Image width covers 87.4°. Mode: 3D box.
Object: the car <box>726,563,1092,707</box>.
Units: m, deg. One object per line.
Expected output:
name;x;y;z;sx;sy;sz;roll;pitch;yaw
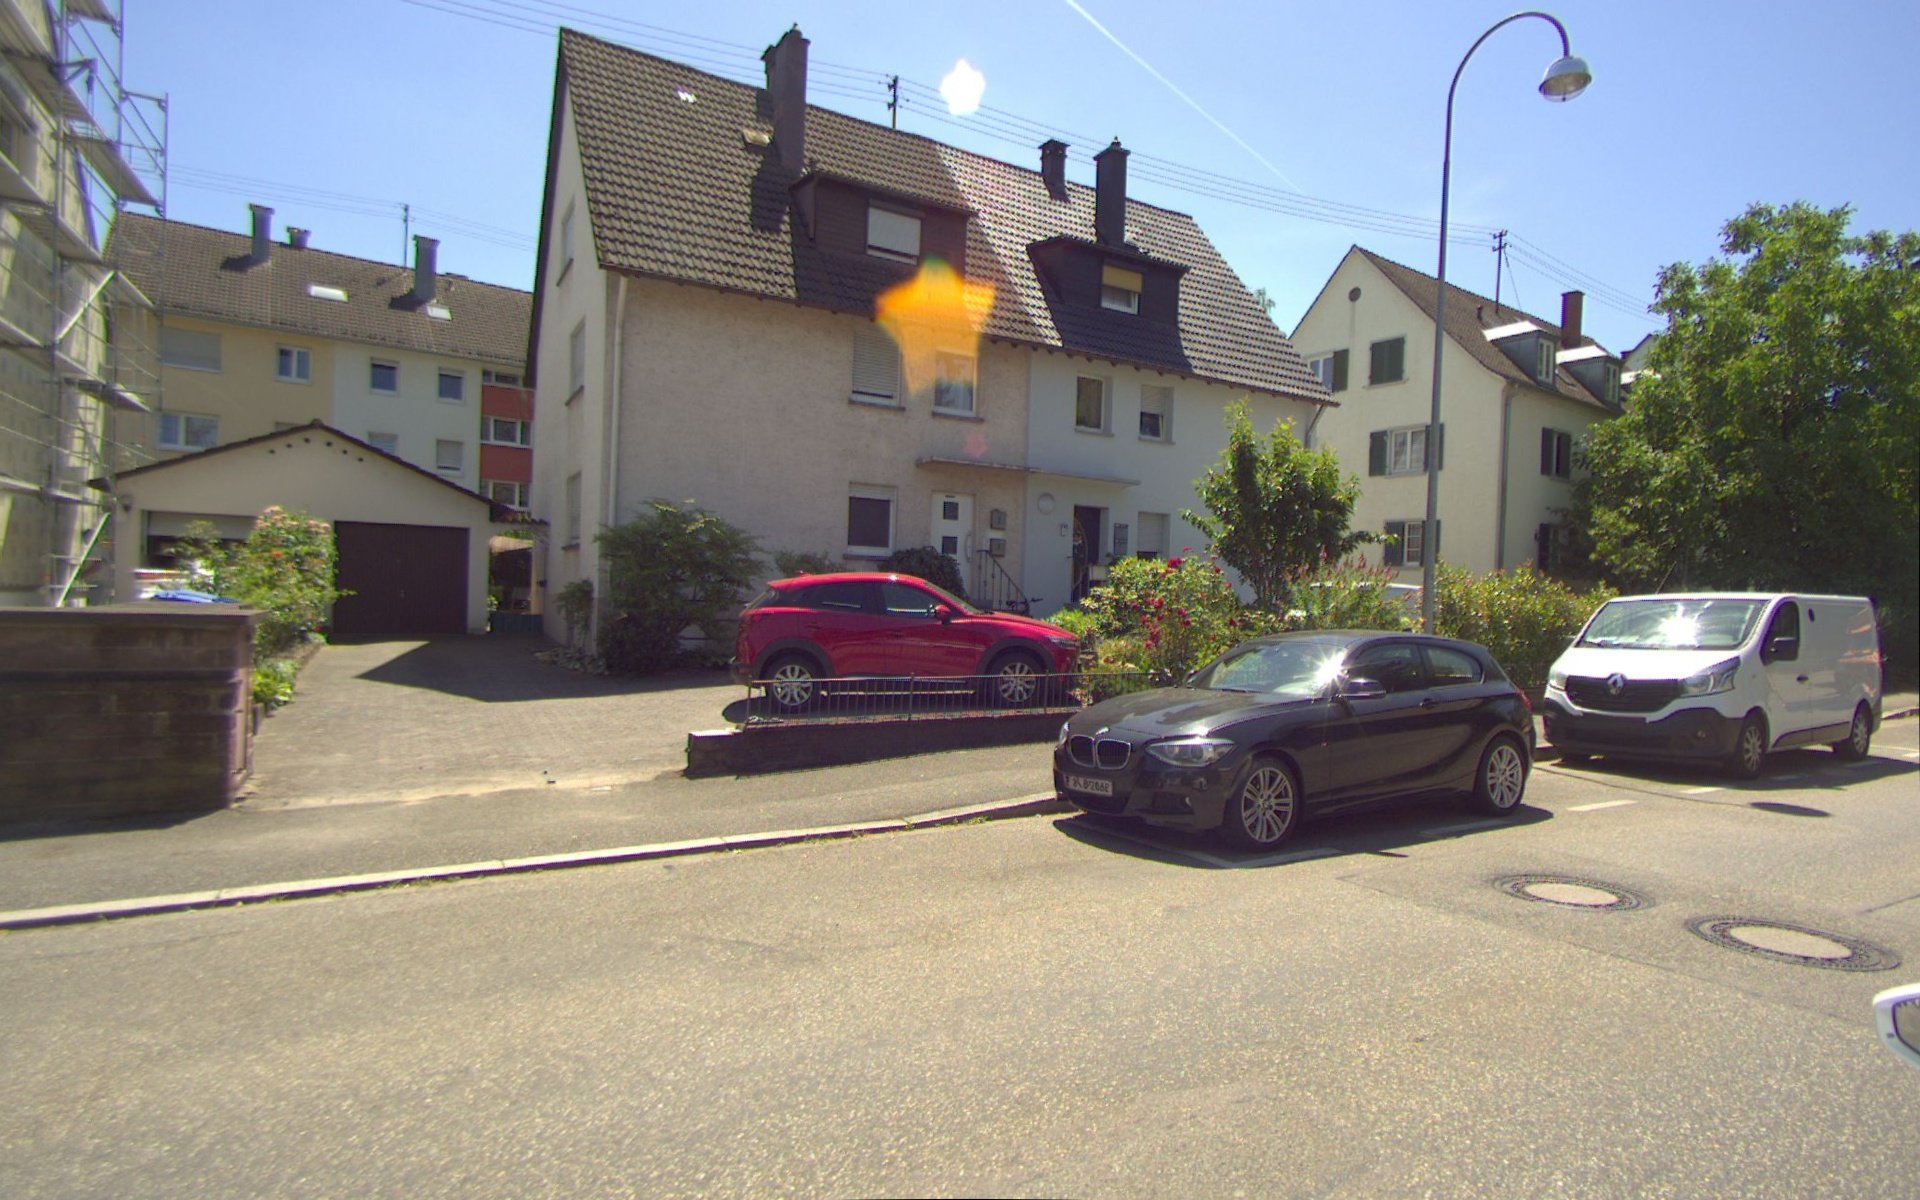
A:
car;-0.601;0.355;11.954;4.034;1.532;1.646;0;4;-5

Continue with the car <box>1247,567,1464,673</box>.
car;7.948;0.401;20.178;3.945;1.895;1.710;2;2;-24

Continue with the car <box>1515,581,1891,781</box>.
car;8.763;0.854;11.716;4.926;1.906;1.876;2;-1;-33

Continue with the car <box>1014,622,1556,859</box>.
car;2.621;0.900;7.786;4.187;1.402;1.690;2;-2;-31
